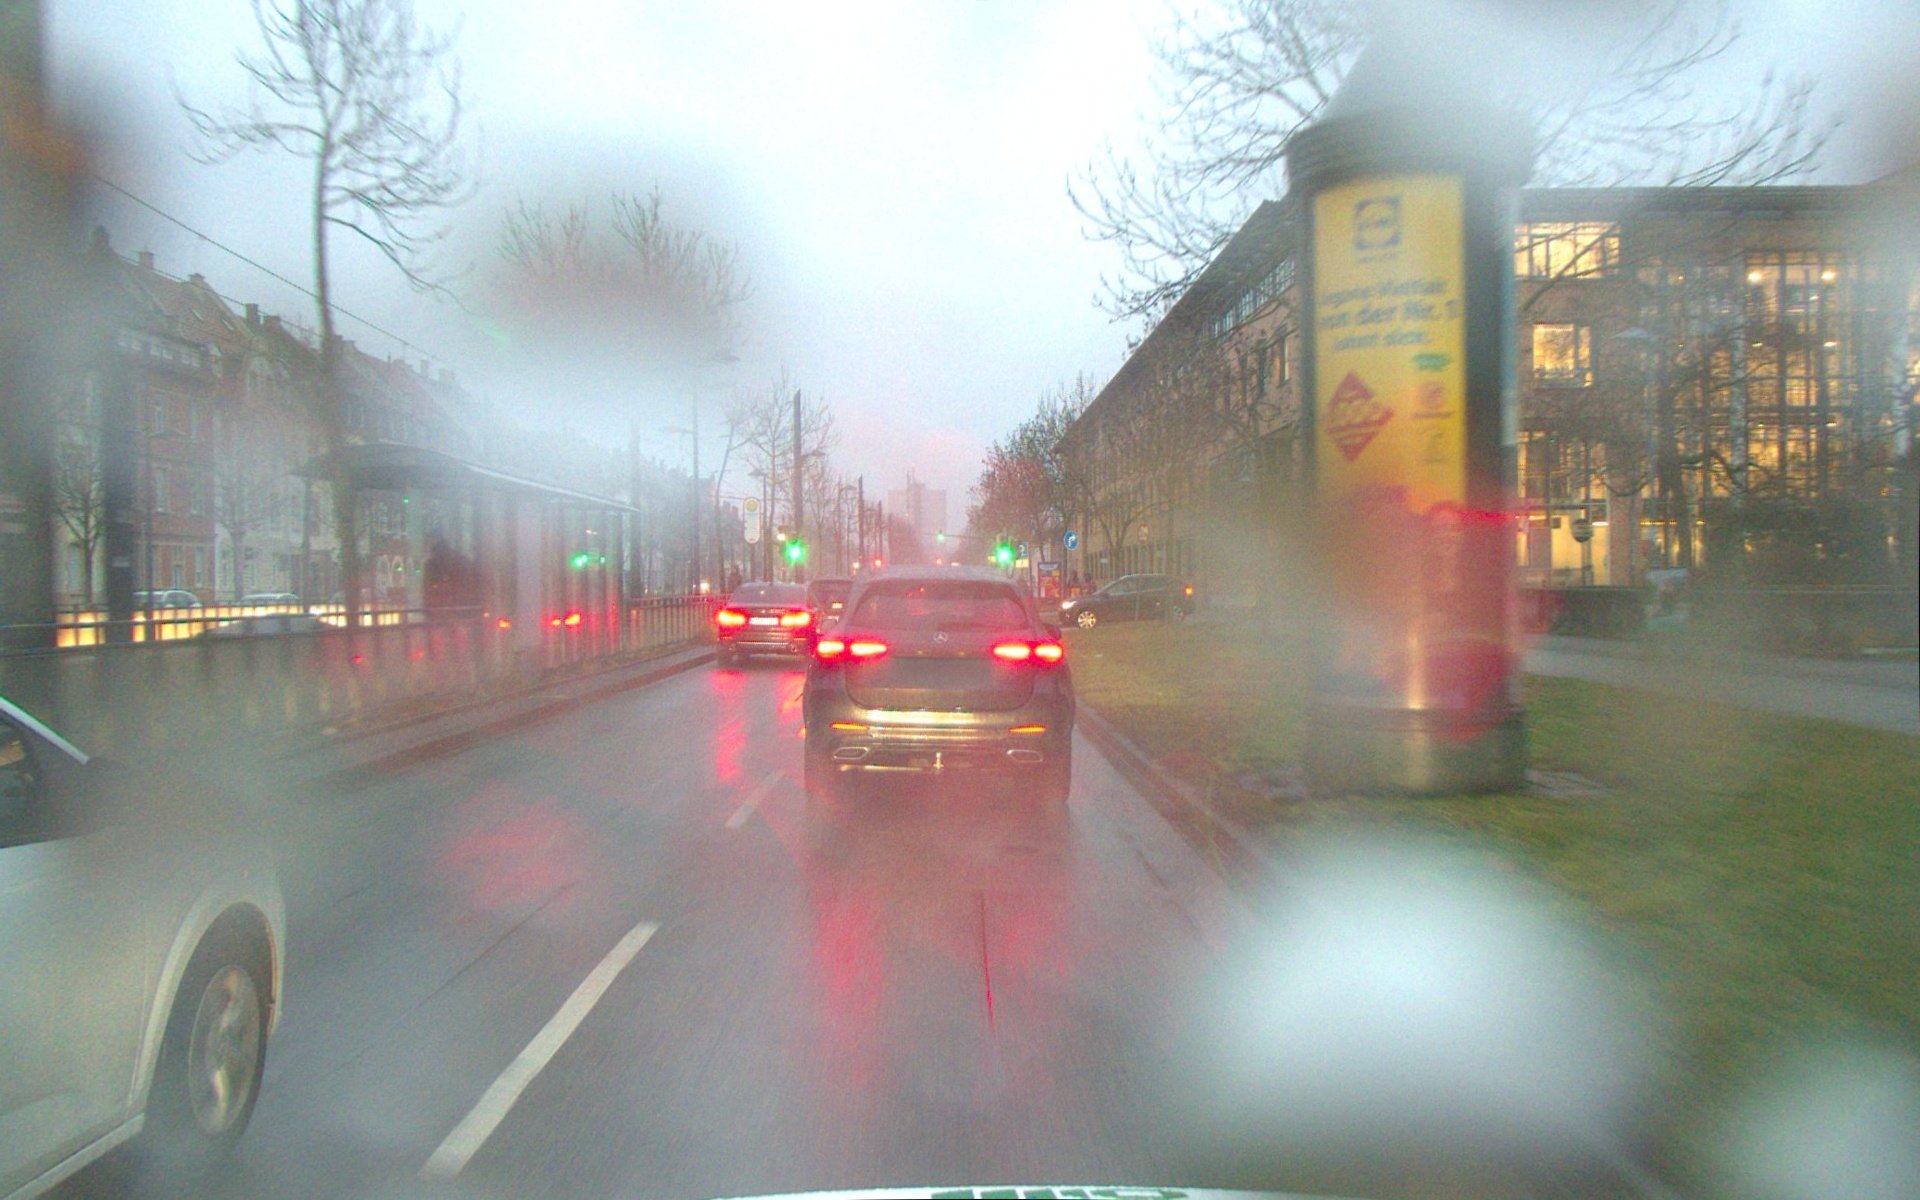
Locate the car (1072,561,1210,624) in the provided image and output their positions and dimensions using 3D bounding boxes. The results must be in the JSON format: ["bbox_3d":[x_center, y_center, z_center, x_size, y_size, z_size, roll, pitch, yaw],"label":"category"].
[{"bbox_3d":[5.277,-0.219,48.524,3.781,1.587,1.766,-4,1,0],"label":"car"}]

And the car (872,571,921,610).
[{"bbox_3d":[-2.813,-0.455,73.743,1.952,1.646,4.000,-1,1,0],"label":"car"}]

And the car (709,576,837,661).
[{"bbox_3d":[-3.383,0.295,30.669,1.953,1.422,3.999,-1,1,-1],"label":"car"}]

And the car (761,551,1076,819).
[{"bbox_3d":[-0.312,0.505,12.419,1.951,1.644,3.999,-1,1,-2],"label":"car"}]

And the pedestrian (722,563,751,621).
[{"bbox_3d":[-6.190,-0.218,45.896,0.684,1.579,0.669,-1,0,-1],"label":"pedestrian"}]

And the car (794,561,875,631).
[{"bbox_3d":[-3.415,-0.127,45.684,1.953,1.796,3.999,-1,1,-1],"label":"car"}]

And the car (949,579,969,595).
[{"bbox_3d":[-0.085,-1.300,167.180,1.953,1.505,3.999,-2,1,-1],"label":"car"}]

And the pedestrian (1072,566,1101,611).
[{"bbox_3d":[4.591,-0.411,60.146,0.888,1.624,0.499,-1,1,41],"label":"pedestrian"}]

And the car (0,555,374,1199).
[{"bbox_3d":[-2.513,0.697,2.827,1.593,1.513,4.000,-1,1,-1],"label":"car"}]

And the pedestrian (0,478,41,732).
[{"bbox_3d":[-6.545,0.028,10.809,0.697,1.634,0.746,0,0,-6],"label":"pedestrian"}]

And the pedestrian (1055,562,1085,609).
[{"bbox_3d":[3.858,-0.506,57.945,0.888,1.624,0.499,-1,1,41],"label":"pedestrian"}]
